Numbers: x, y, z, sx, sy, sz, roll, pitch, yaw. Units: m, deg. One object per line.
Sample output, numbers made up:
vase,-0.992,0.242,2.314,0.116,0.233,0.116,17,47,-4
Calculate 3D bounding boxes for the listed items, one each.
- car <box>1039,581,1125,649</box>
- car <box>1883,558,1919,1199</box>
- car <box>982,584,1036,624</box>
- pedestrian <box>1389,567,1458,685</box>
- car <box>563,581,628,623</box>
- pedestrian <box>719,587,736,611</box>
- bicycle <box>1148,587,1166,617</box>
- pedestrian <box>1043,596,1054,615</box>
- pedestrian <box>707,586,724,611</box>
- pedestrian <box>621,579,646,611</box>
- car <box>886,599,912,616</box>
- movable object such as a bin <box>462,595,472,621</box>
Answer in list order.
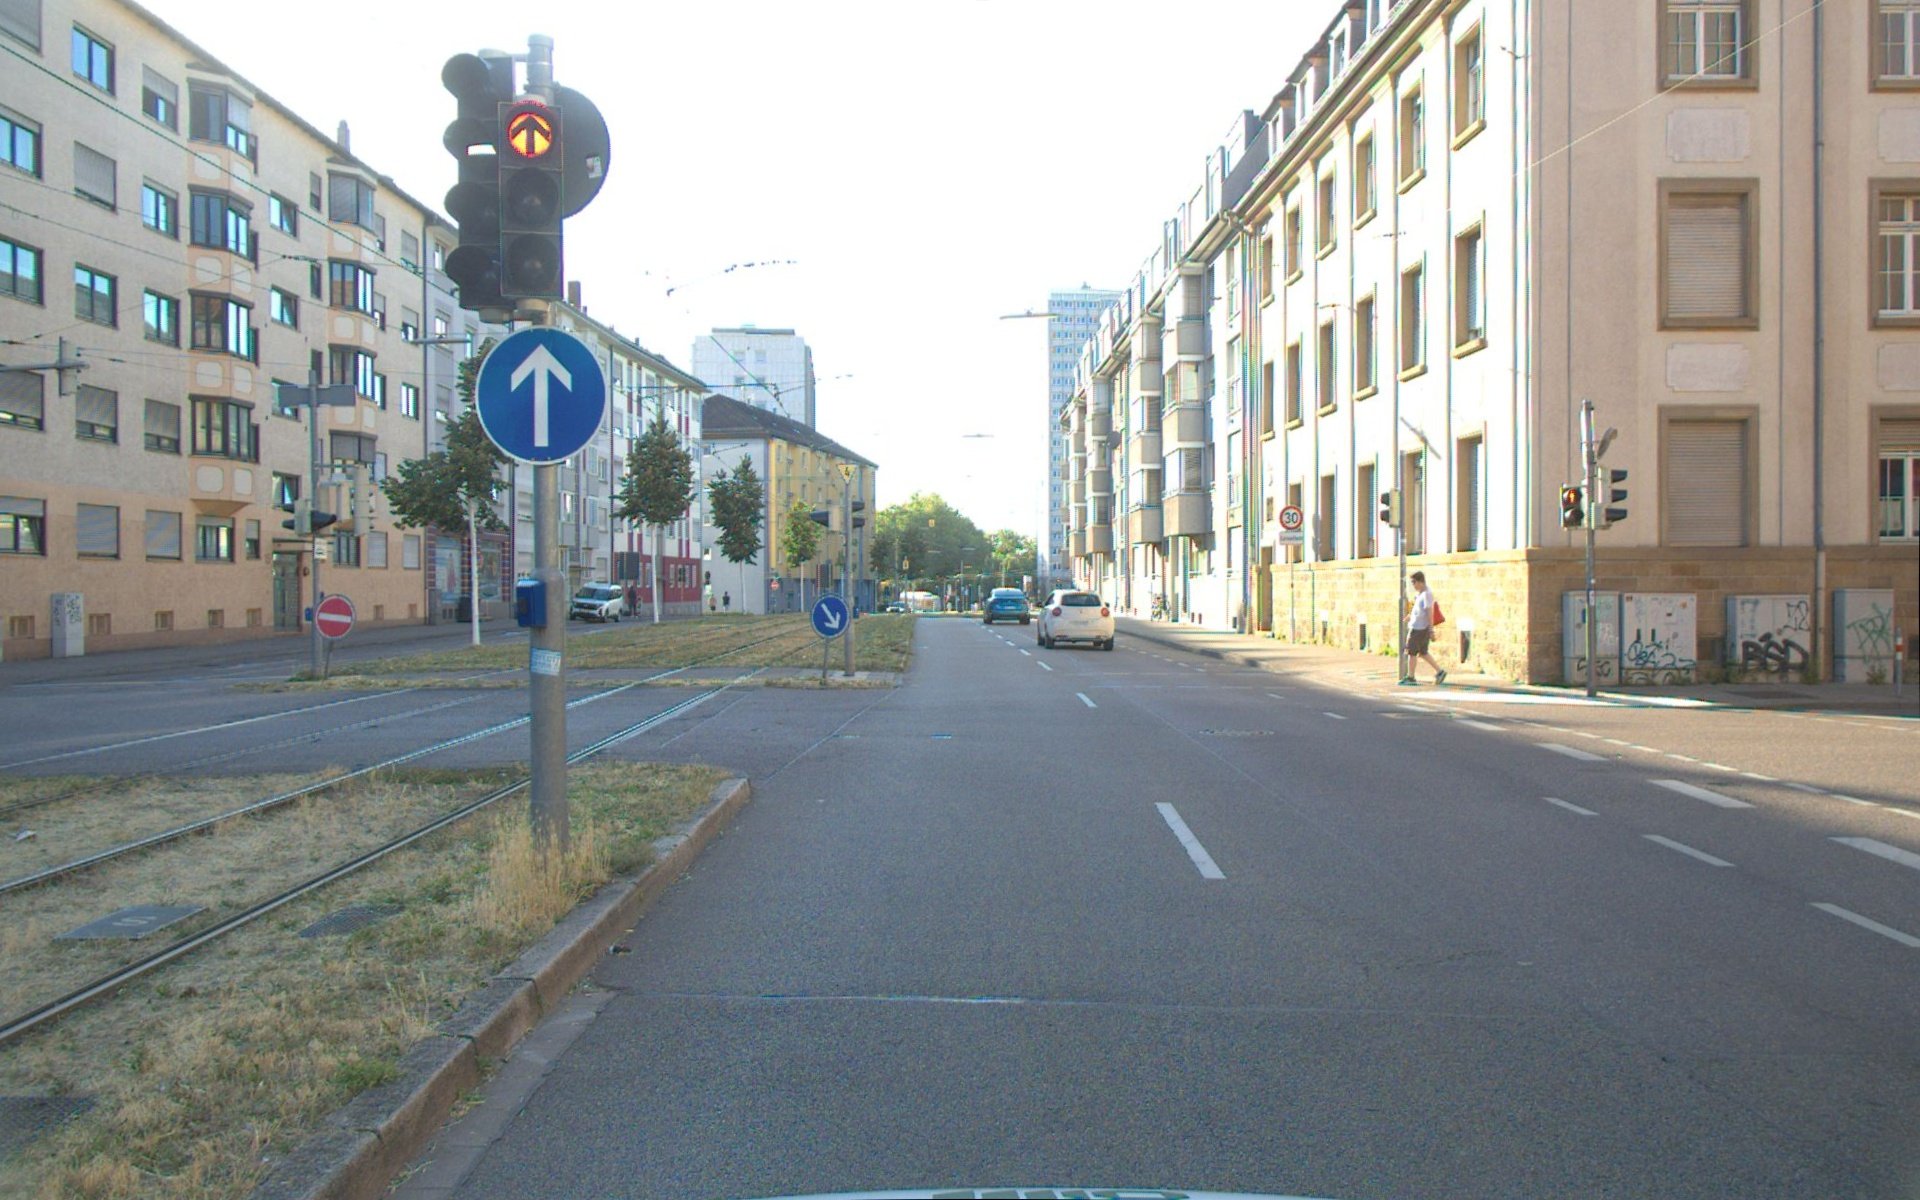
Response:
car,3.021,0.359,41.630,1.952,1.591,4.000,1,0,1
car,2.860,0.734,1.464,1.663,1.580,4.225,1,0,-1
car,1.985,0.161,68.201,1.953,1.581,4.392,1,0,-2
pedestrian,7.229,0.397,25.803,0.818,1.793,0.824,1,-1,-1
car,-17.879,0.107,81.347,1.952,1.958,4.543,1,0,3
pedestrian,-16.729,-0.083,118.955,0.942,1.699,1.011,1,0,4
bicycle,7.381,0.085,61.963,0.376,1.115,1.503,-1,0,-3
pedestrian,5.754,0.353,107.432,0.677,1.256,0.736,1,0,0
pedestrian,-17.495,-0.099,118.261,0.942,1.723,1.011,1,0,4
pedestrian,-18.489,-0.265,93.721,1.245,1.791,1.272,1,0,-7
car,-6.239,0.729,169.818,1.857,1.662,4.751,-1,0,7
movable object such as a bin,-20.252,0.338,67.946,0.292,1.054,0.441,1,-1,-1
